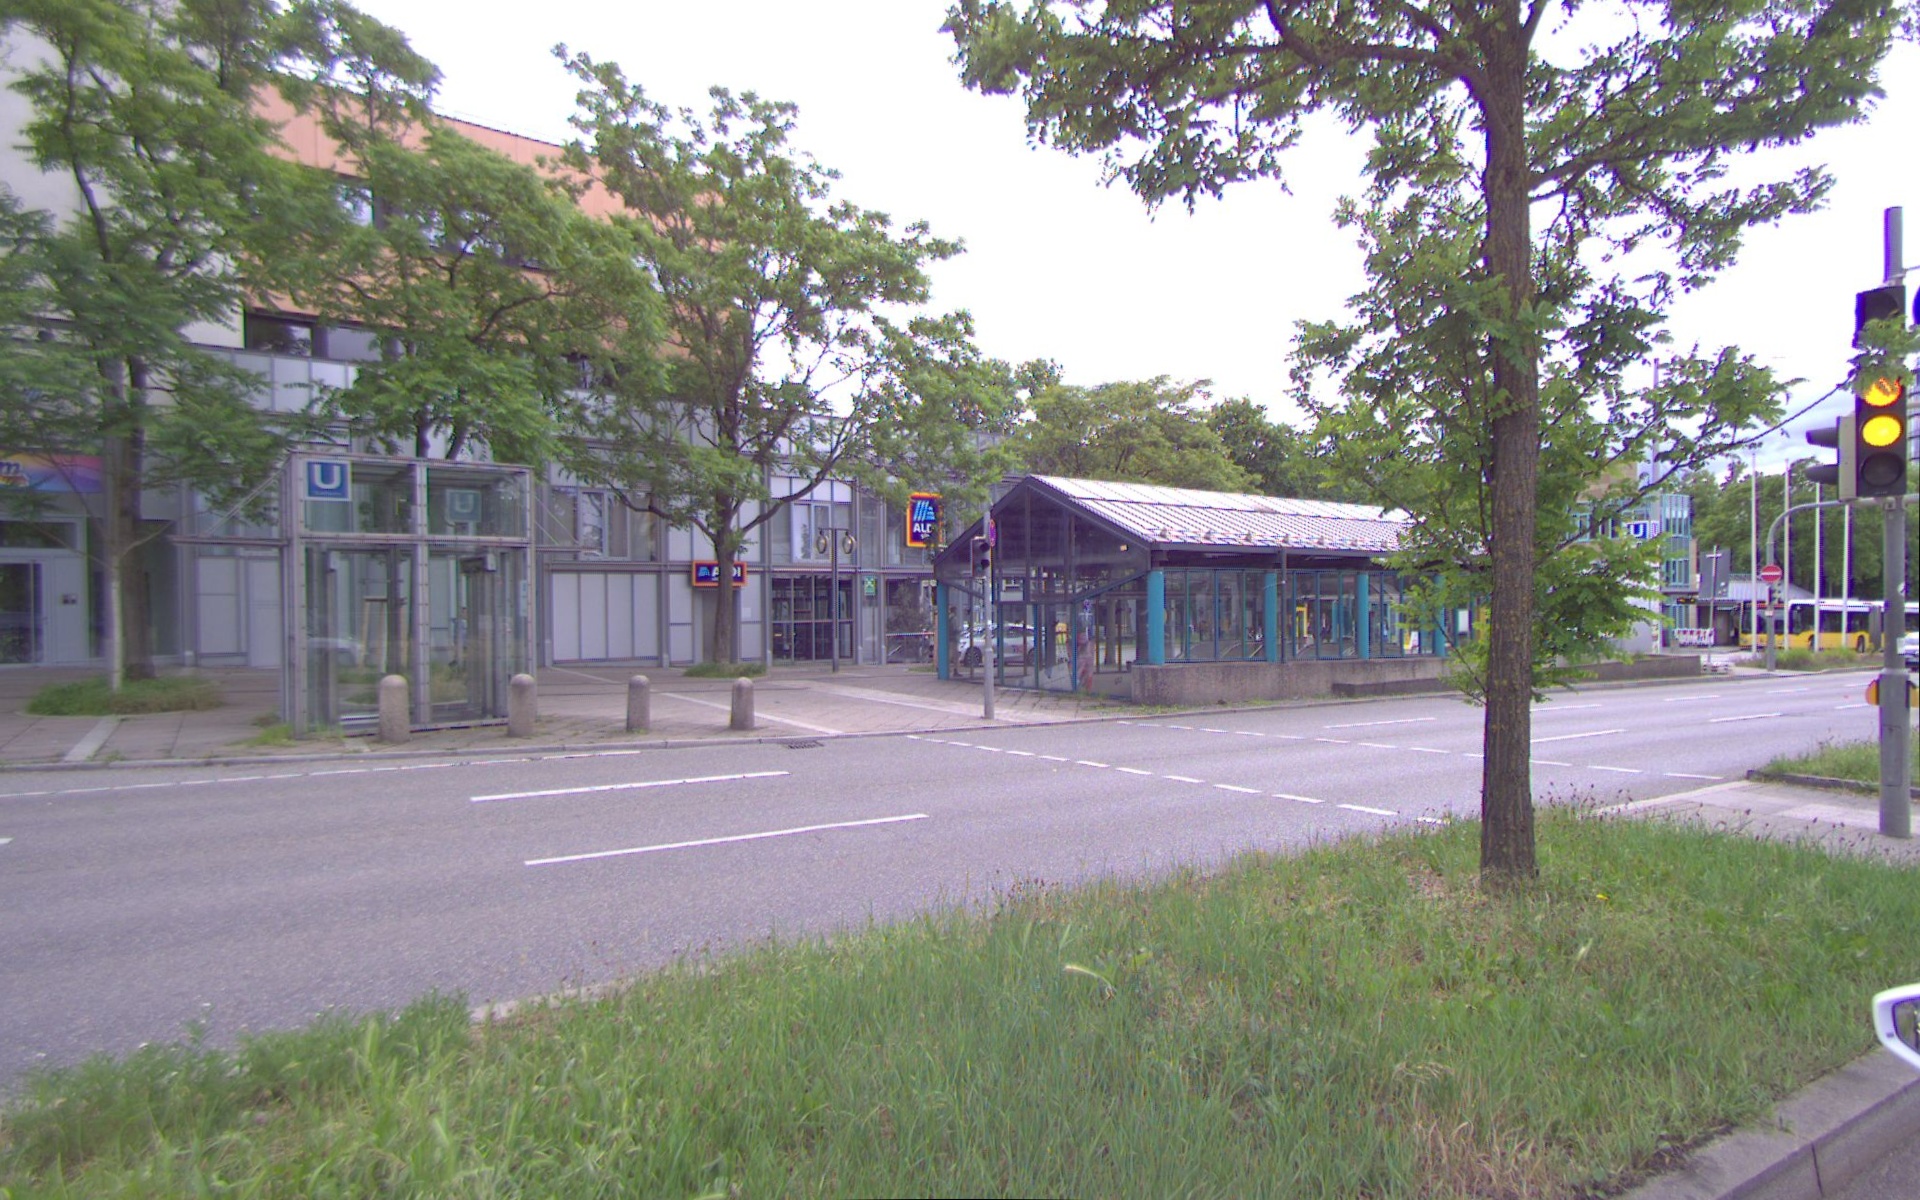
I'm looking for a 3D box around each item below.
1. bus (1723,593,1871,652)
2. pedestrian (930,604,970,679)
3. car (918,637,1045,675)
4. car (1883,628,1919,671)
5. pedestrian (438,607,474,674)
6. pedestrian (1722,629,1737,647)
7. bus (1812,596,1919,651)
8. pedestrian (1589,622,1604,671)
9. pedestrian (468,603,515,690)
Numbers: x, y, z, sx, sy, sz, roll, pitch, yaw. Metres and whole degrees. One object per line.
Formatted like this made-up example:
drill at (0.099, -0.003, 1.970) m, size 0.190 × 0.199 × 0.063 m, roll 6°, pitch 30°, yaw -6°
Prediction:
bus at (49.919, 1.379, 59.826) m, size 10.036 × 3.293 × 2.980 m, roll 1°, pitch -1°, yaw -26°
pedestrian at (-0.246, 1.039, 25.408) m, size 0.530 × 1.857 × 0.916 m, roll 0°, pitch -1°, yaw 44°
car at (0.738, 1.853, 33.698) m, size 3.959 × 1.184 × 1.812 m, roll 1°, pitch -2°, yaw -34°
car at (37.545, 1.912, 39.165) m, size 3.316 × 1.599 × 1.673 m, roll 1°, pitch -1°, yaw -36°
pedestrian at (-11.756, 0.939, 23.416) m, size 0.618 × 1.523 × 0.562 m, roll 1°, pitch -1°, yaw -40°
pedestrian at (47.413, 2.323, 61.873) m, size 0.581 × 1.071 × 0.520 m, roll 2°, pitch 0°, yaw -30°
bus at (57.916, 1.540, 63.767) m, size 7.771 × 3.313 × 2.980 m, roll 1°, pitch -1°, yaw -26°
pedestrian at (21.001, 1.524, 33.155) m, size 0.412 × 1.612 × 0.356 m, roll 0°, pitch -1°, yaw 31°
pedestrian at (-9.224, 0.903, 19.761) m, size 0.714 × 1.672 × 0.672 m, roll 1°, pitch 0°, yaw -34°
